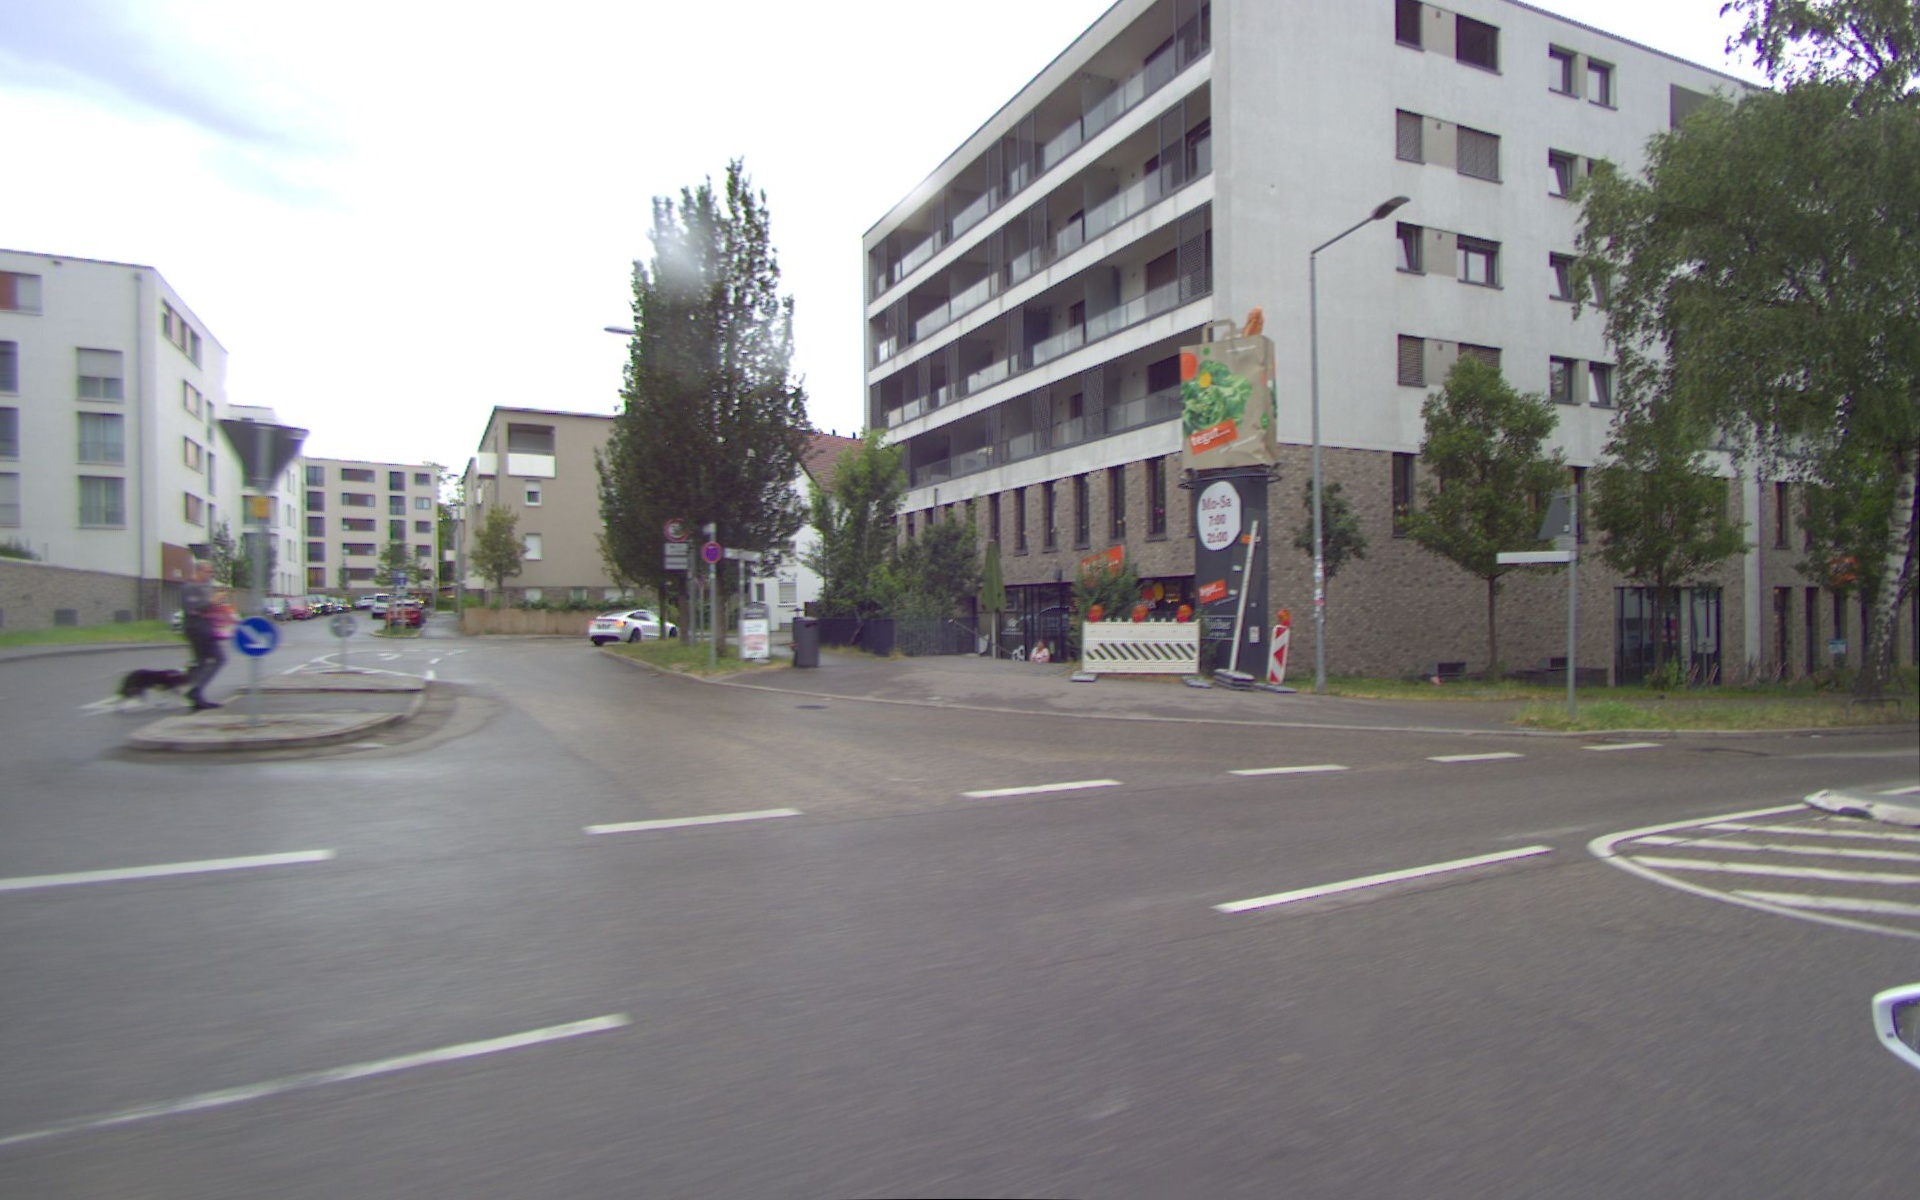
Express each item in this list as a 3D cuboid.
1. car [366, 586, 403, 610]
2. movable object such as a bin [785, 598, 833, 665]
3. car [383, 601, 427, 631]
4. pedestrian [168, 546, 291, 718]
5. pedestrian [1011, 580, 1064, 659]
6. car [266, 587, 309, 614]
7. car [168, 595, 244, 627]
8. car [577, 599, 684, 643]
[{"bbox_3d":[-43.305,-0.131,75.539,1.980,1.773,3.960,0,0,-36],"label":"car"},{"bbox_3d":[-3.207,0.657,21.298,0.813,1.381,0.712,0,1,-31],"label":"movable object such as a bin"},{"bbox_3d":[-30.489,0.852,55.258,1.975,1.503,3.971,0,1,-28],"label":"car"},{"bbox_3d":[-9.213,0.375,12.668,1.044,2.040,1.093,1,0,44],"label":"pedestrian"},{"bbox_3d":[2.071,0.499,26.818,1.106,2.041,0.877,0,2,-33],"label":"pedestrian"},{"bbox_3d":[-44.956,0.027,67.221,1.975,1.773,3.971,0,0,-27],"label":"car"},{"bbox_3d":[-34.090,0.476,45.517,1.973,1.320,4.122,0,1,-26],"label":"car"},{"bbox_3d":[-13.429,0.814,41.313,2.022,1.683,4.823,0,0,12],"label":"car"}]
